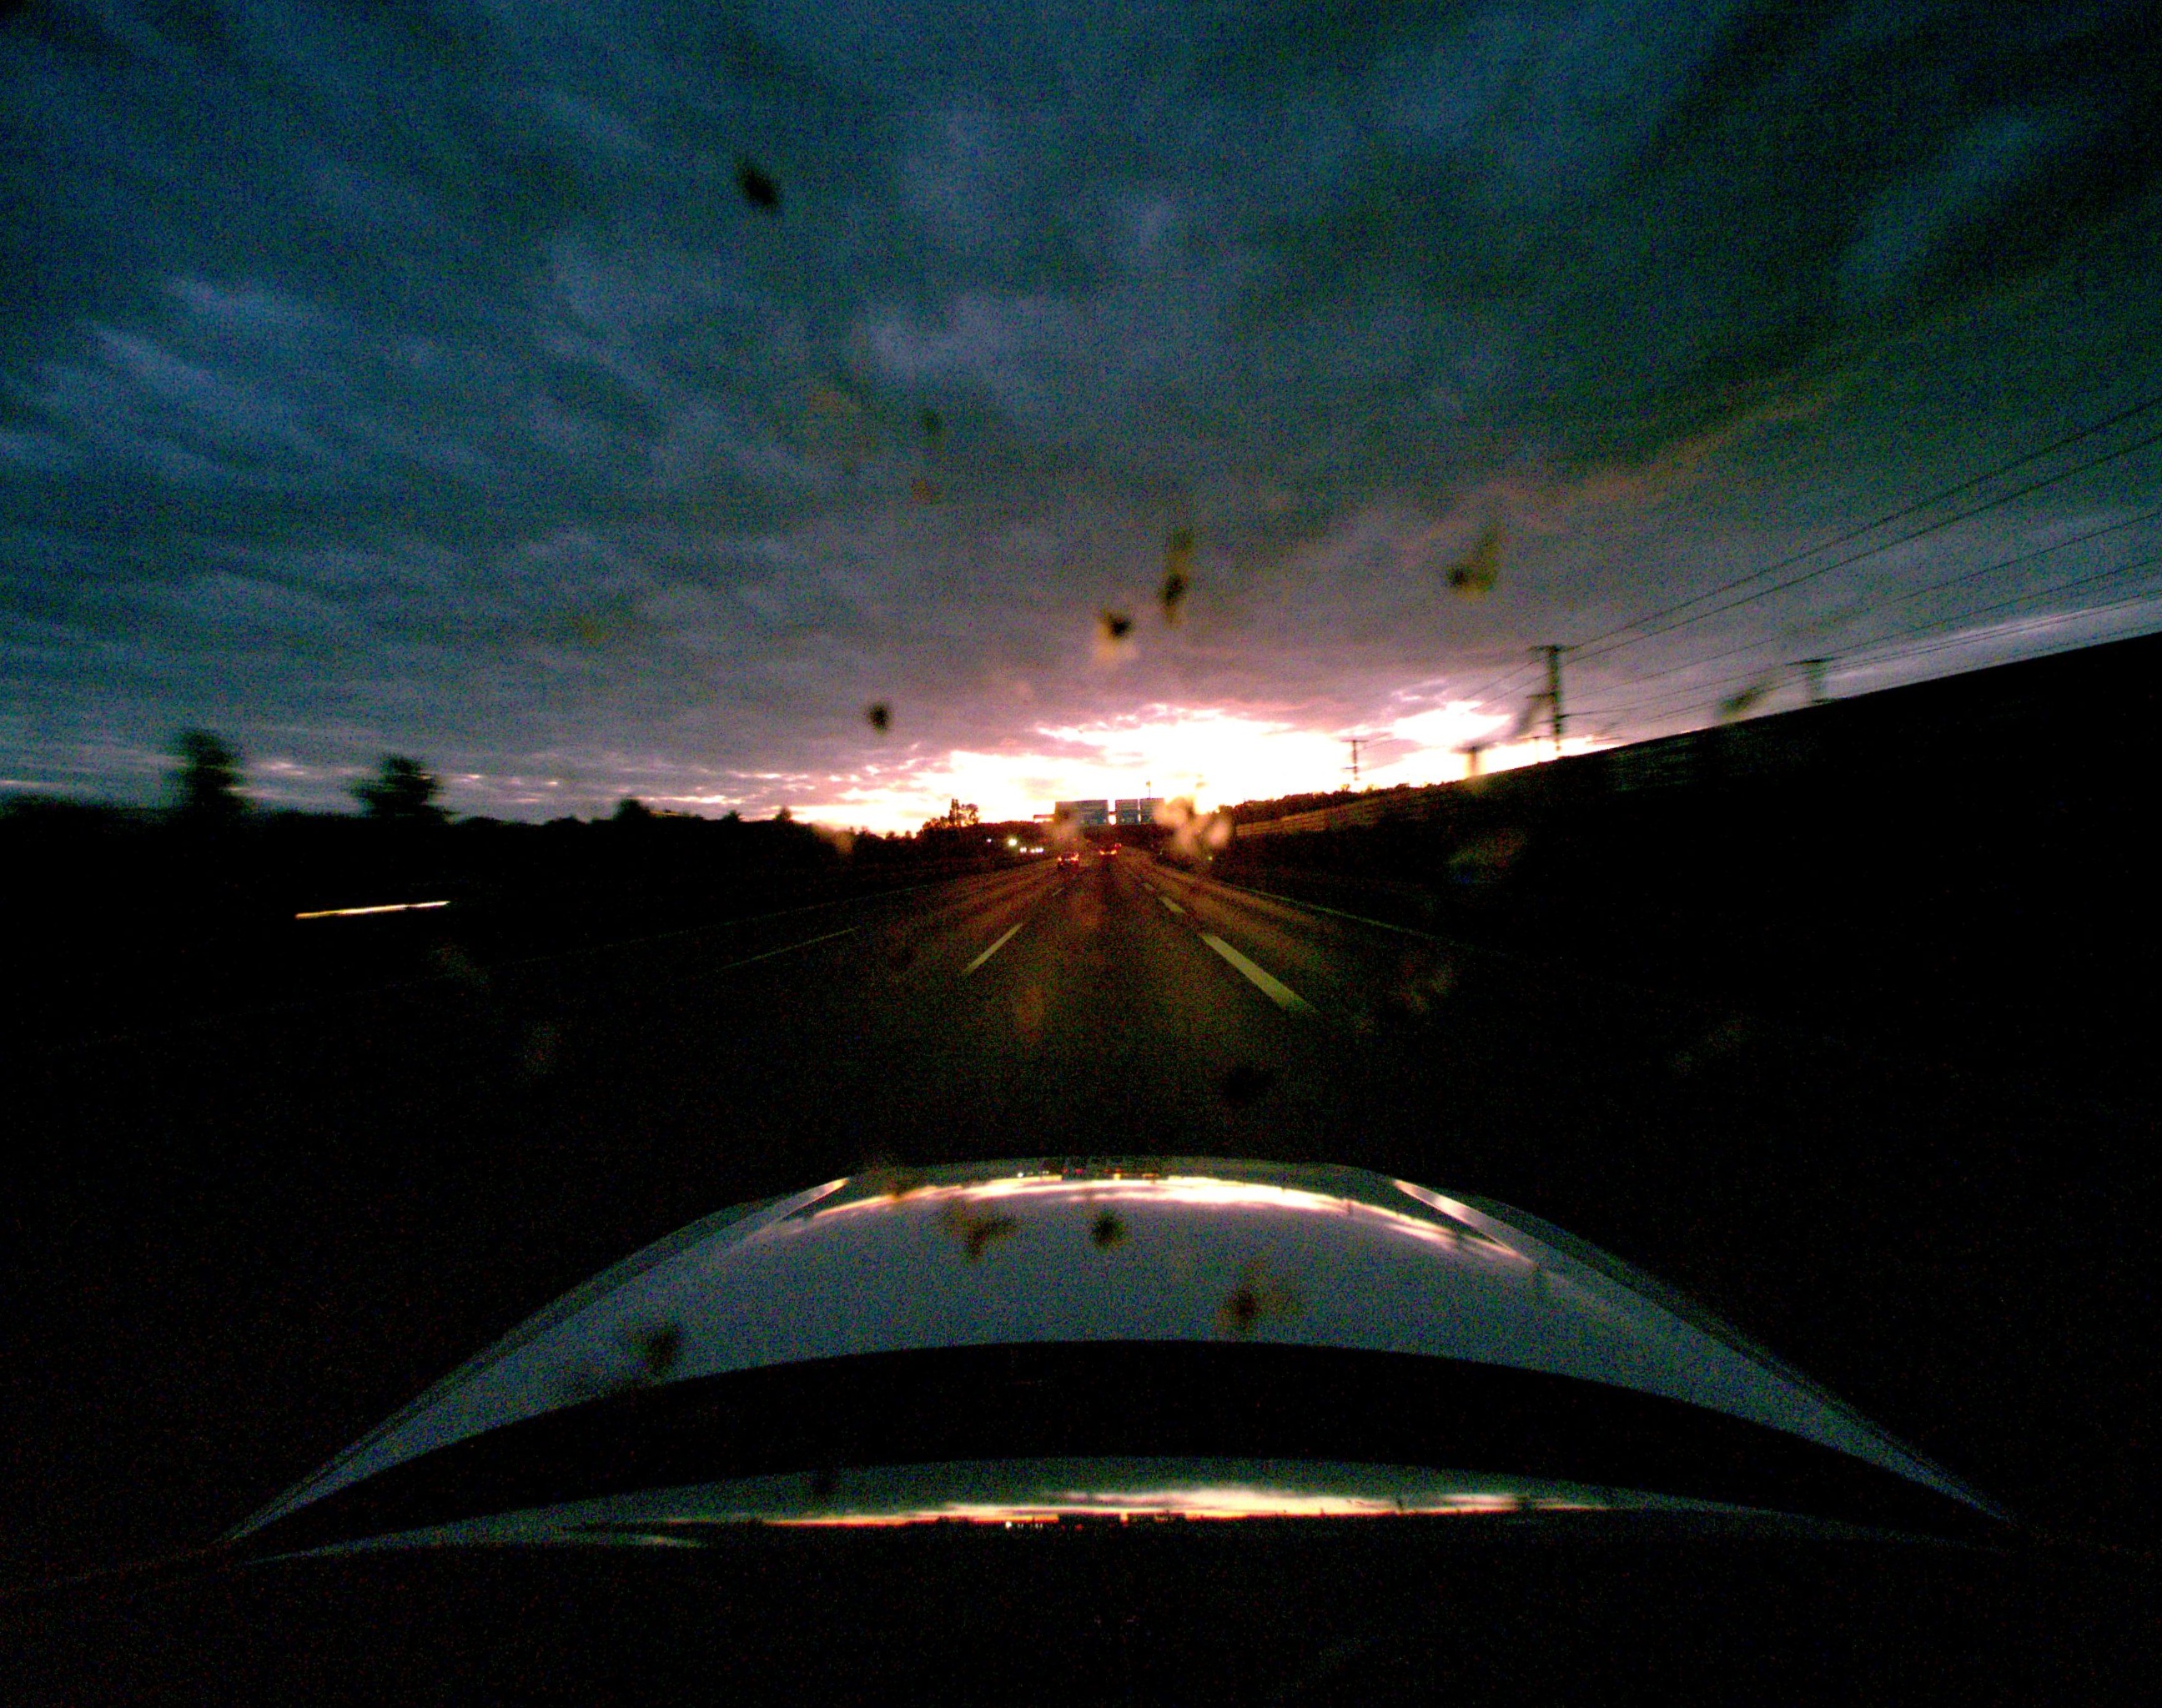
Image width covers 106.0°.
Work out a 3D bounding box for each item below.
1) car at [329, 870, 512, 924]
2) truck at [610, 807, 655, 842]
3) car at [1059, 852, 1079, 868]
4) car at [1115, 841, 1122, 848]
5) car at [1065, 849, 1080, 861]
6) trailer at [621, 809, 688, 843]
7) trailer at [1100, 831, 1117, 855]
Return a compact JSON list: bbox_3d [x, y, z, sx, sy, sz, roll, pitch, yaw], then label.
[{"bbox_3d":[-19.659,1.226,24.525,1.986,1.349,4.177,-2,0,2],"label":"car"},{"bbox_3d":[-54.872,-3.530,99.757,2.685,4.071,5.470,-2,0,-4],"label":"truck"},{"bbox_3d":[-1.162,0.534,75.184,1.685,1.401,3.406,-4,0,-2],"label":"car"},{"bbox_3d":[11.154,-2.906,244.480,1.987,1.849,4.000,0,-1,1],"label":"car"},{"bbox_3d":[-1.048,0.102,103.138,1.684,1.401,3.408,-5,0,0],"label":"car"},{"bbox_3d":[-55.280,-3.509,106.030,2.685,4.071,12.475,-2,0,-4],"label":"trailer"},{"bbox_3d":[4.876,-2.069,146.590,2.712,4.070,8.834,-4,2,1],"label":"trailer"}]
